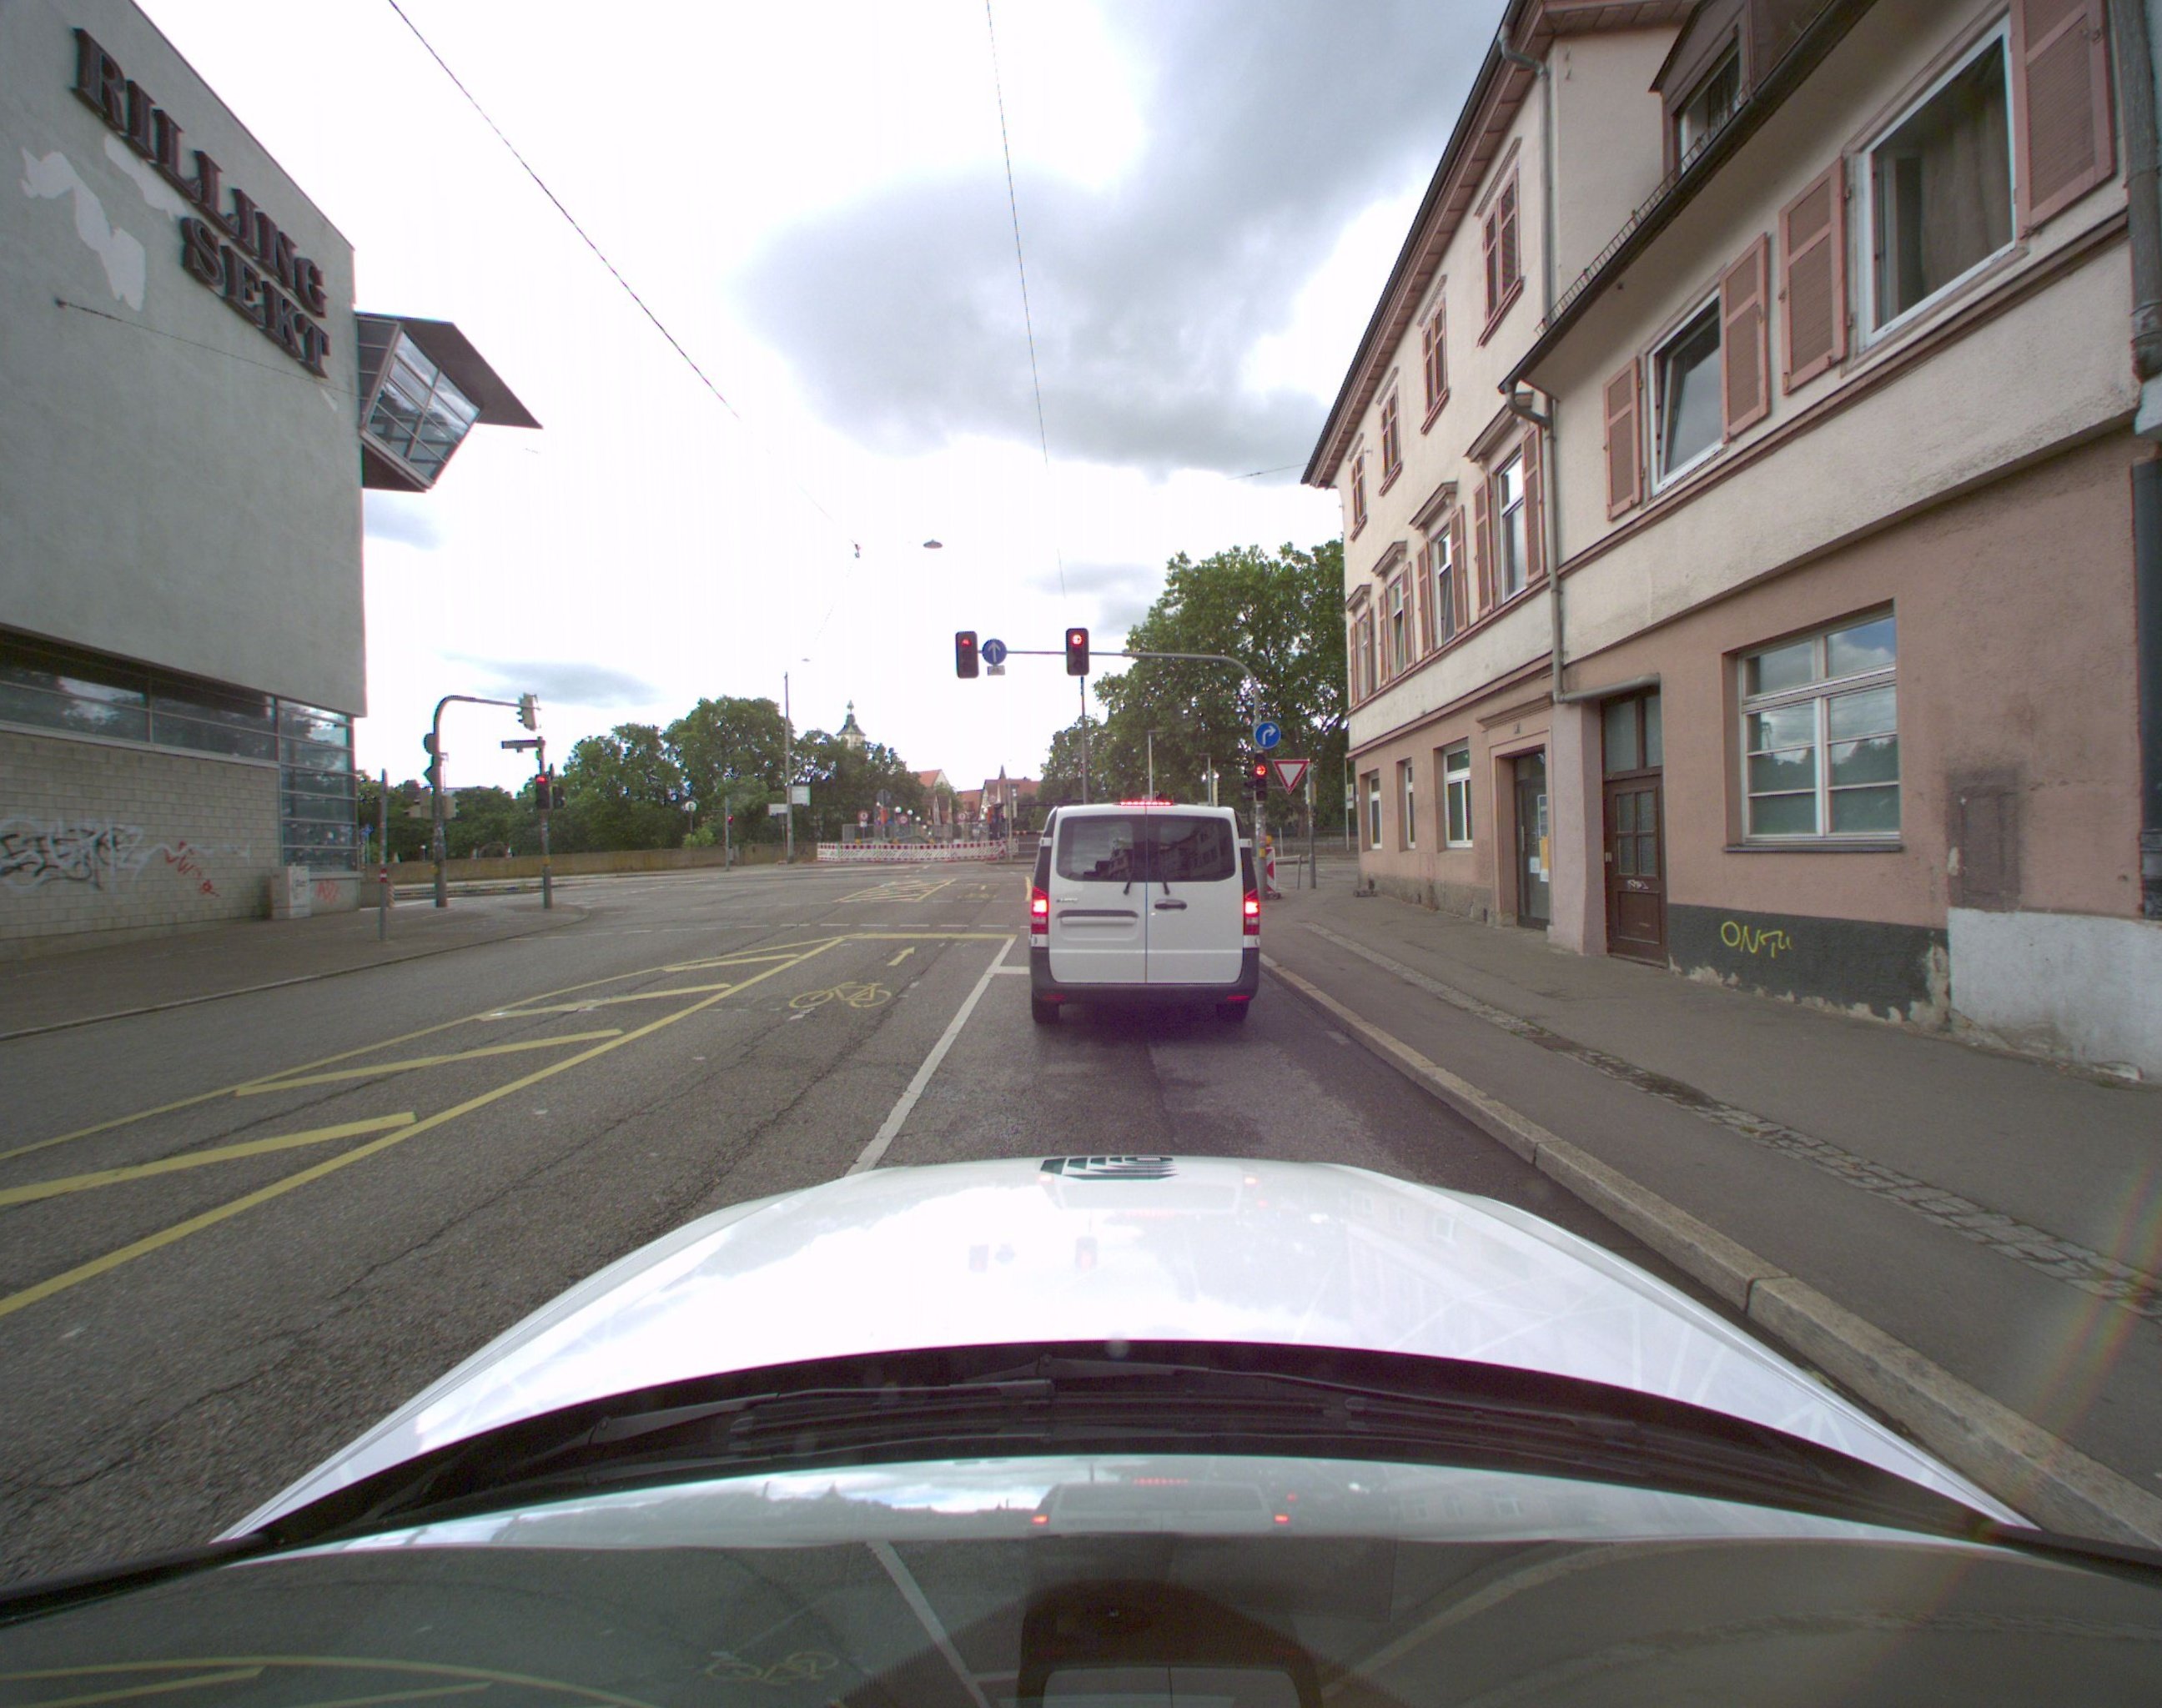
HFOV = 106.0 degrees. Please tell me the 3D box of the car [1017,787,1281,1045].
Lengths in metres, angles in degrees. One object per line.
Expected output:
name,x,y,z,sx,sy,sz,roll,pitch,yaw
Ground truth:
car,0.455,0.399,8.285,1.988,1.922,4.246,-1,2,-2
